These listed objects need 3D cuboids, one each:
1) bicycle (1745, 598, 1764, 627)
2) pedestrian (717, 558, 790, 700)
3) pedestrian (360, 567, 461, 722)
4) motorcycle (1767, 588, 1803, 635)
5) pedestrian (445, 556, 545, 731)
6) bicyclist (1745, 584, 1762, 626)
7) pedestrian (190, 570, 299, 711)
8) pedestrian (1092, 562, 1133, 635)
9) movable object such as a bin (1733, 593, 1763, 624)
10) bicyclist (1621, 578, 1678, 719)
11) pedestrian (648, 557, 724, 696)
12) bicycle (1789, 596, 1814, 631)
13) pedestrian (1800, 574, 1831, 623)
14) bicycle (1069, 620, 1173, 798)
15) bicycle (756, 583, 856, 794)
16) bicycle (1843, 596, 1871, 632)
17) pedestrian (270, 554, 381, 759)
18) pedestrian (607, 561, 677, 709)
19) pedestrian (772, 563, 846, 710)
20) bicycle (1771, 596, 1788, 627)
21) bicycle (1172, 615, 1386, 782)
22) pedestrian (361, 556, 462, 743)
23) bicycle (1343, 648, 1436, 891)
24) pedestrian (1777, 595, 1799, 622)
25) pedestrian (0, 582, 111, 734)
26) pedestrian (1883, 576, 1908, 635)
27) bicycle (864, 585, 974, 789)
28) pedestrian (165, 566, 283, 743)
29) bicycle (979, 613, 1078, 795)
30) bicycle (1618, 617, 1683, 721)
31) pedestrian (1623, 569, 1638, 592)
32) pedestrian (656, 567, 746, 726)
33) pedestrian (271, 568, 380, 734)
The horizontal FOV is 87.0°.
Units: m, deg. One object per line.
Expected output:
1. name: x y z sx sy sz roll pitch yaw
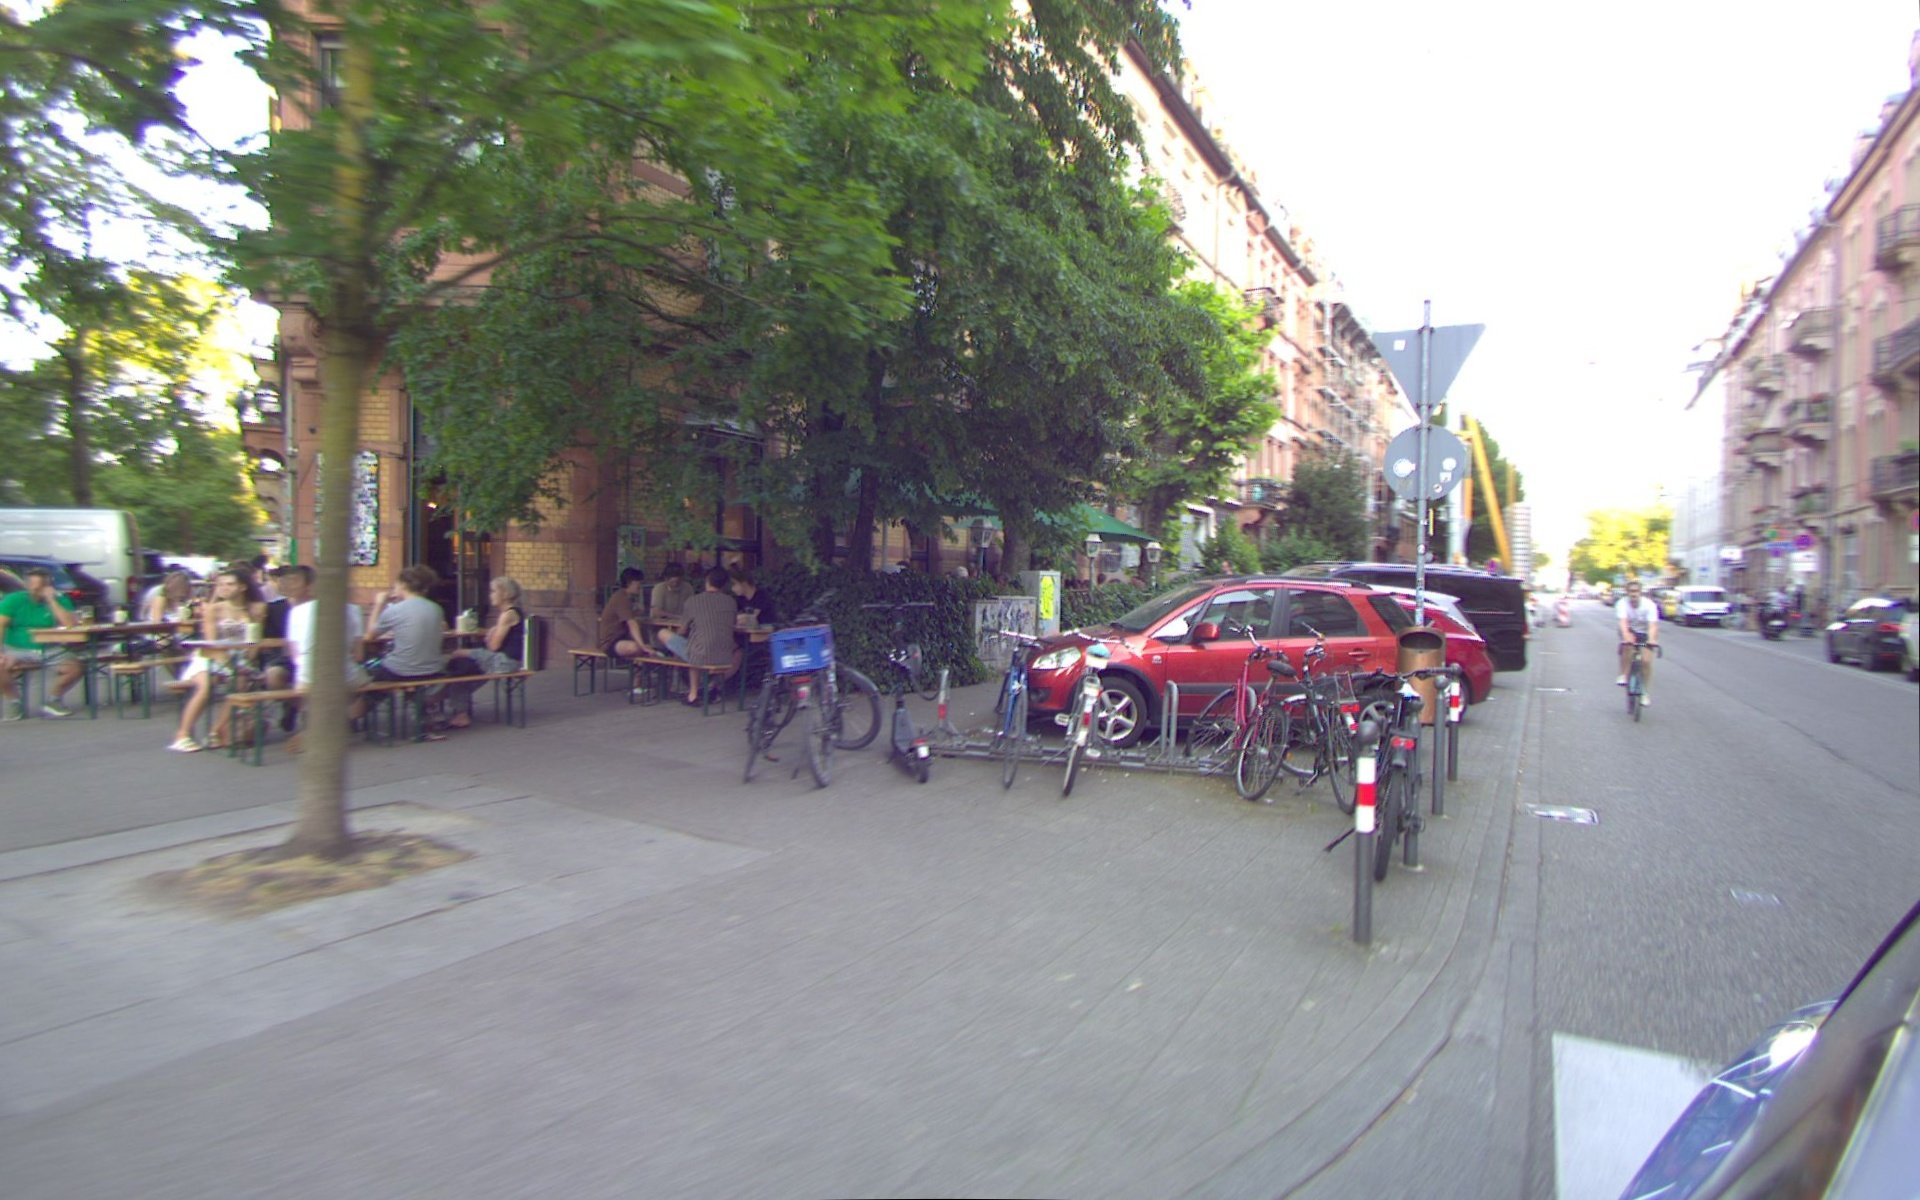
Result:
1. bicycle: 30.729 0.468 39.143 0.464 1.081 1.502 -1 1 34
2. pedestrian: -2.145 0.288 10.521 0.547 1.427 0.511 -1 0 19
3. pedestrian: -4.745 0.363 8.748 0.542 1.285 0.567 -1 0 33
4. motorcycle: 26.440 0.350 32.440 0.682 1.422 1.990 -1 1 34
5. pedestrian: -3.894 0.344 8.482 0.543 1.397 0.566 -1 0 38
6. bicyclist: 30.860 0.193 39.344 0.464 1.610 0.481 -1 0 35
7. pedestrian: -7.277 0.386 10.299 0.623 1.362 0.731 -1 0 35
8. pedestrian: 2.941 -0.030 19.477 0.584 1.383 0.690 -1 0 28
9. movable object such as a bin: 32.922 0.366 42.273 0.883 1.267 0.767 -1 0 32
10. bicyclist: 8.753 0.584 12.871 0.524 1.725 0.781 -1 0 30
11. pedestrian: -2.918 0.270 10.811 0.507 1.427 0.616 -1 0 19
12. bicycle: 29.677 0.475 35.713 0.410 1.174 1.817 -1 1 32
13. pedestrian: 32.198 -0.055 38.102 0.677 1.833 0.952 -1 0 28
14. bicycle: 1.130 0.721 7.393 0.588 1.077 1.767 -1 1 5
15. bicycle: -1.041 0.538 7.144 0.587 1.304 1.725 0 1 -5
16. bicycle: 30.709 0.475 34.654 0.410 1.174 1.817 -1 1 32
17. pedestrian: -4.527 0.381 7.225 0.541 1.397 0.462 -1 0 29
18. pedestrian: -3.173 0.331 10.123 0.504 1.427 0.620 -1 0 -1
19. pedestrian: -1.513 0.353 10.154 0.547 1.427 0.511 -1 0 19
20. bicycle: 31.843 0.435 39.353 0.464 1.169 1.973 -1 1 38
21. bicycle: 2.475 0.741 7.947 1.531 1.175 0.363 2 1 18
22. pedestrian: -4.271 0.367 7.886 0.541 1.397 0.462 -1 0 29
23. bicycle: 2.442 0.862 5.689 0.362 1.077 1.538 -1 1 27
24. pedestrian: 36.881 0.377 45.082 0.628 1.154 0.567 -1 0 30
25. pedestrian: -7.997 0.476 8.846 0.623 1.247 0.731 -1 0 35
26. pedestrian: 28.951 0.163 31.327 0.462 1.812 0.634 -1 0 35
27. bicycle: -0.252 0.549 7.384 0.588 1.304 1.767 -1 1 5
28. pedestrian: -5.629 0.391 7.749 0.542 1.285 0.567 -1 0 33
29. bicycle: 0.510 0.687 7.458 0.588 1.076 1.767 3 2 4
30. bicycle: 8.750 0.831 12.867 0.516 1.169 1.764 -1 1 30
31. pedestrian: 80.636 -2.375 121.698 1.434 2.775 1.001 -1 0 31
32. pedestrian: -2.416 0.416 9.468 0.631 1.427 0.511 -1 0 19
33. pedestrian: -5.153 0.392 8.224 0.542 1.285 0.567 -1 0 33
